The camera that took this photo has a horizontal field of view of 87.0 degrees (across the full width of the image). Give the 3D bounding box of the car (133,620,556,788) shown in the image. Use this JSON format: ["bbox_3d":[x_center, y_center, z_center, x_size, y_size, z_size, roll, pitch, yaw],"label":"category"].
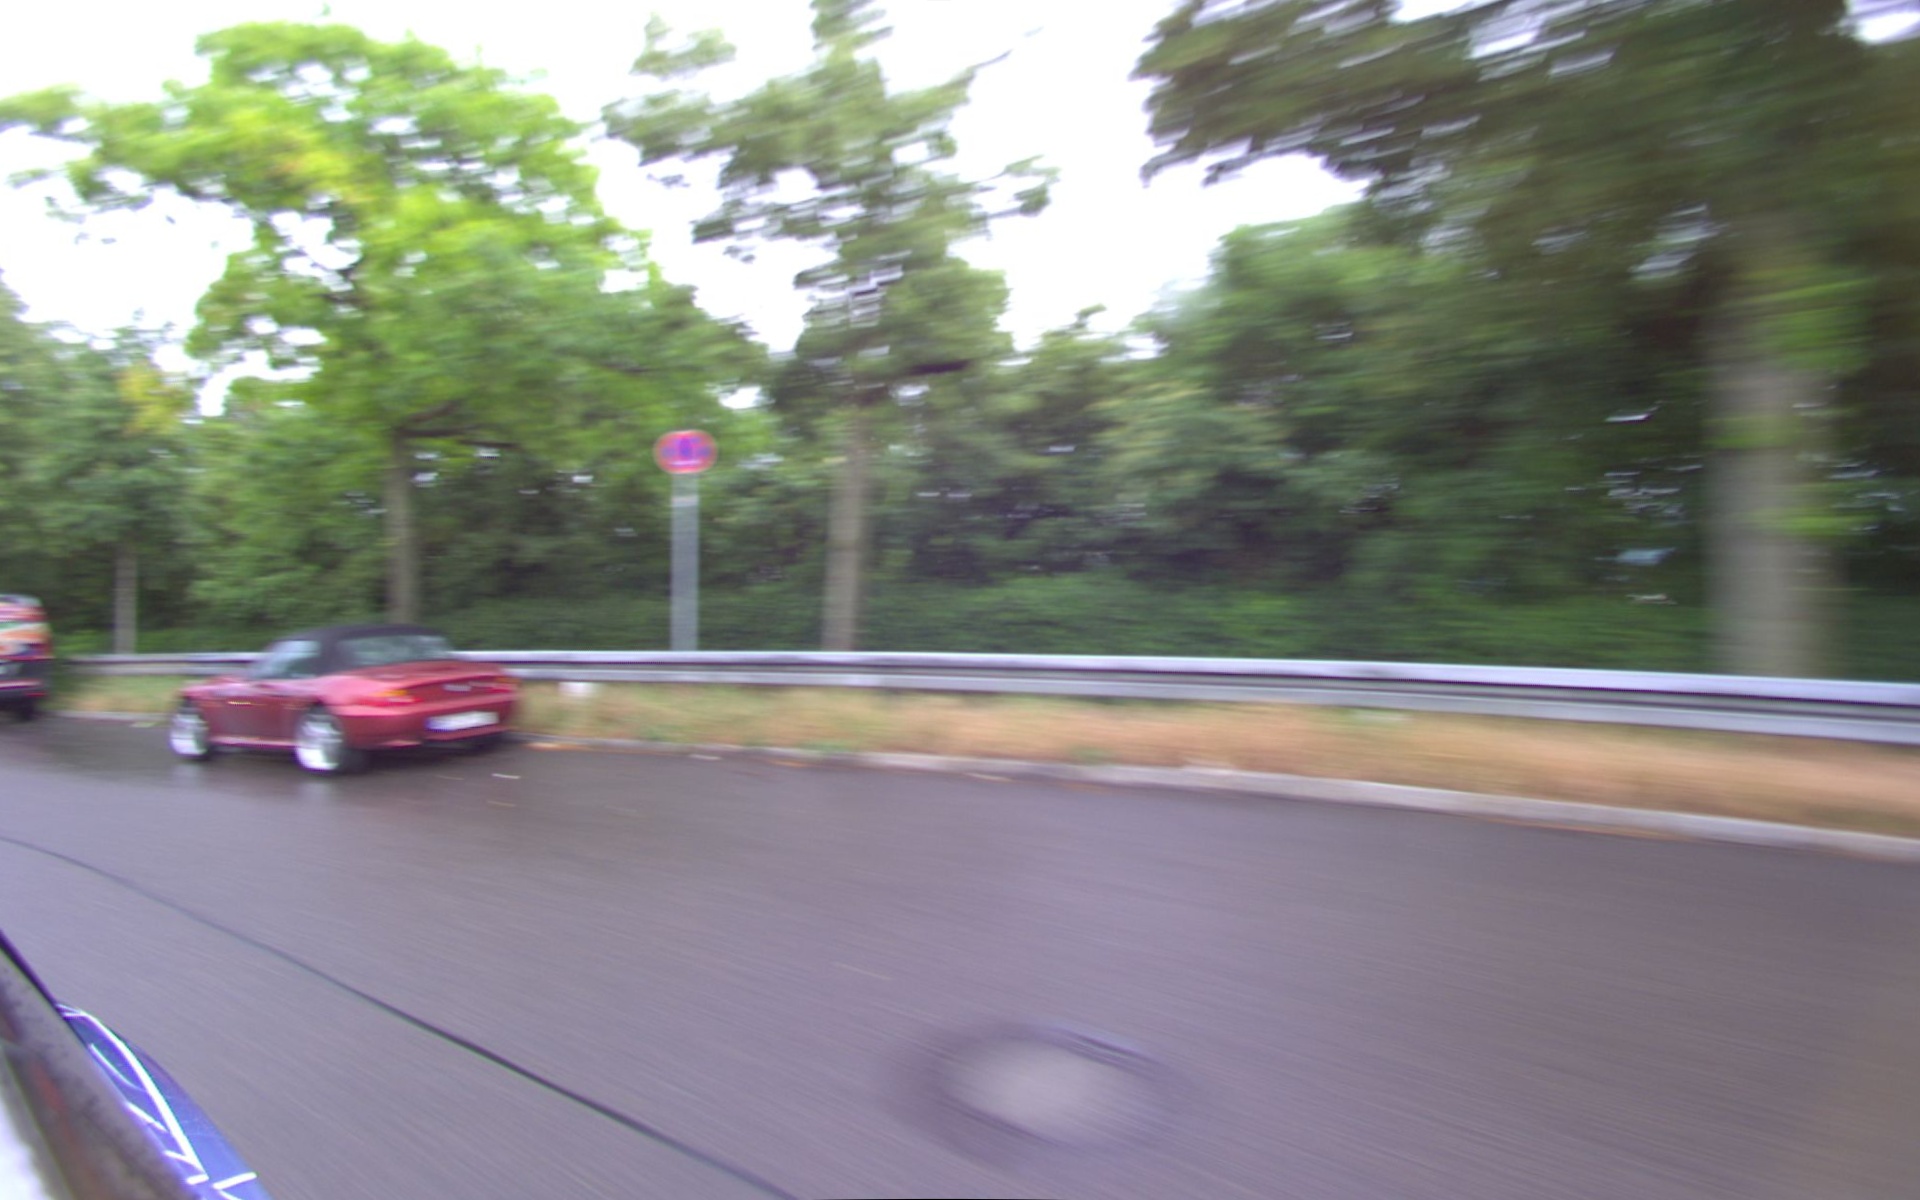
[{"bbox_3d":[-6.171,0.893,10.027,4.309,1.307,1.777,-1,0,31],"label":"car"}]

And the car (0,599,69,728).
[{"bbox_3d":[-16.136,0.957,15.513,5.357,1.833,2.070,-1,0,29],"label":"car"}]
